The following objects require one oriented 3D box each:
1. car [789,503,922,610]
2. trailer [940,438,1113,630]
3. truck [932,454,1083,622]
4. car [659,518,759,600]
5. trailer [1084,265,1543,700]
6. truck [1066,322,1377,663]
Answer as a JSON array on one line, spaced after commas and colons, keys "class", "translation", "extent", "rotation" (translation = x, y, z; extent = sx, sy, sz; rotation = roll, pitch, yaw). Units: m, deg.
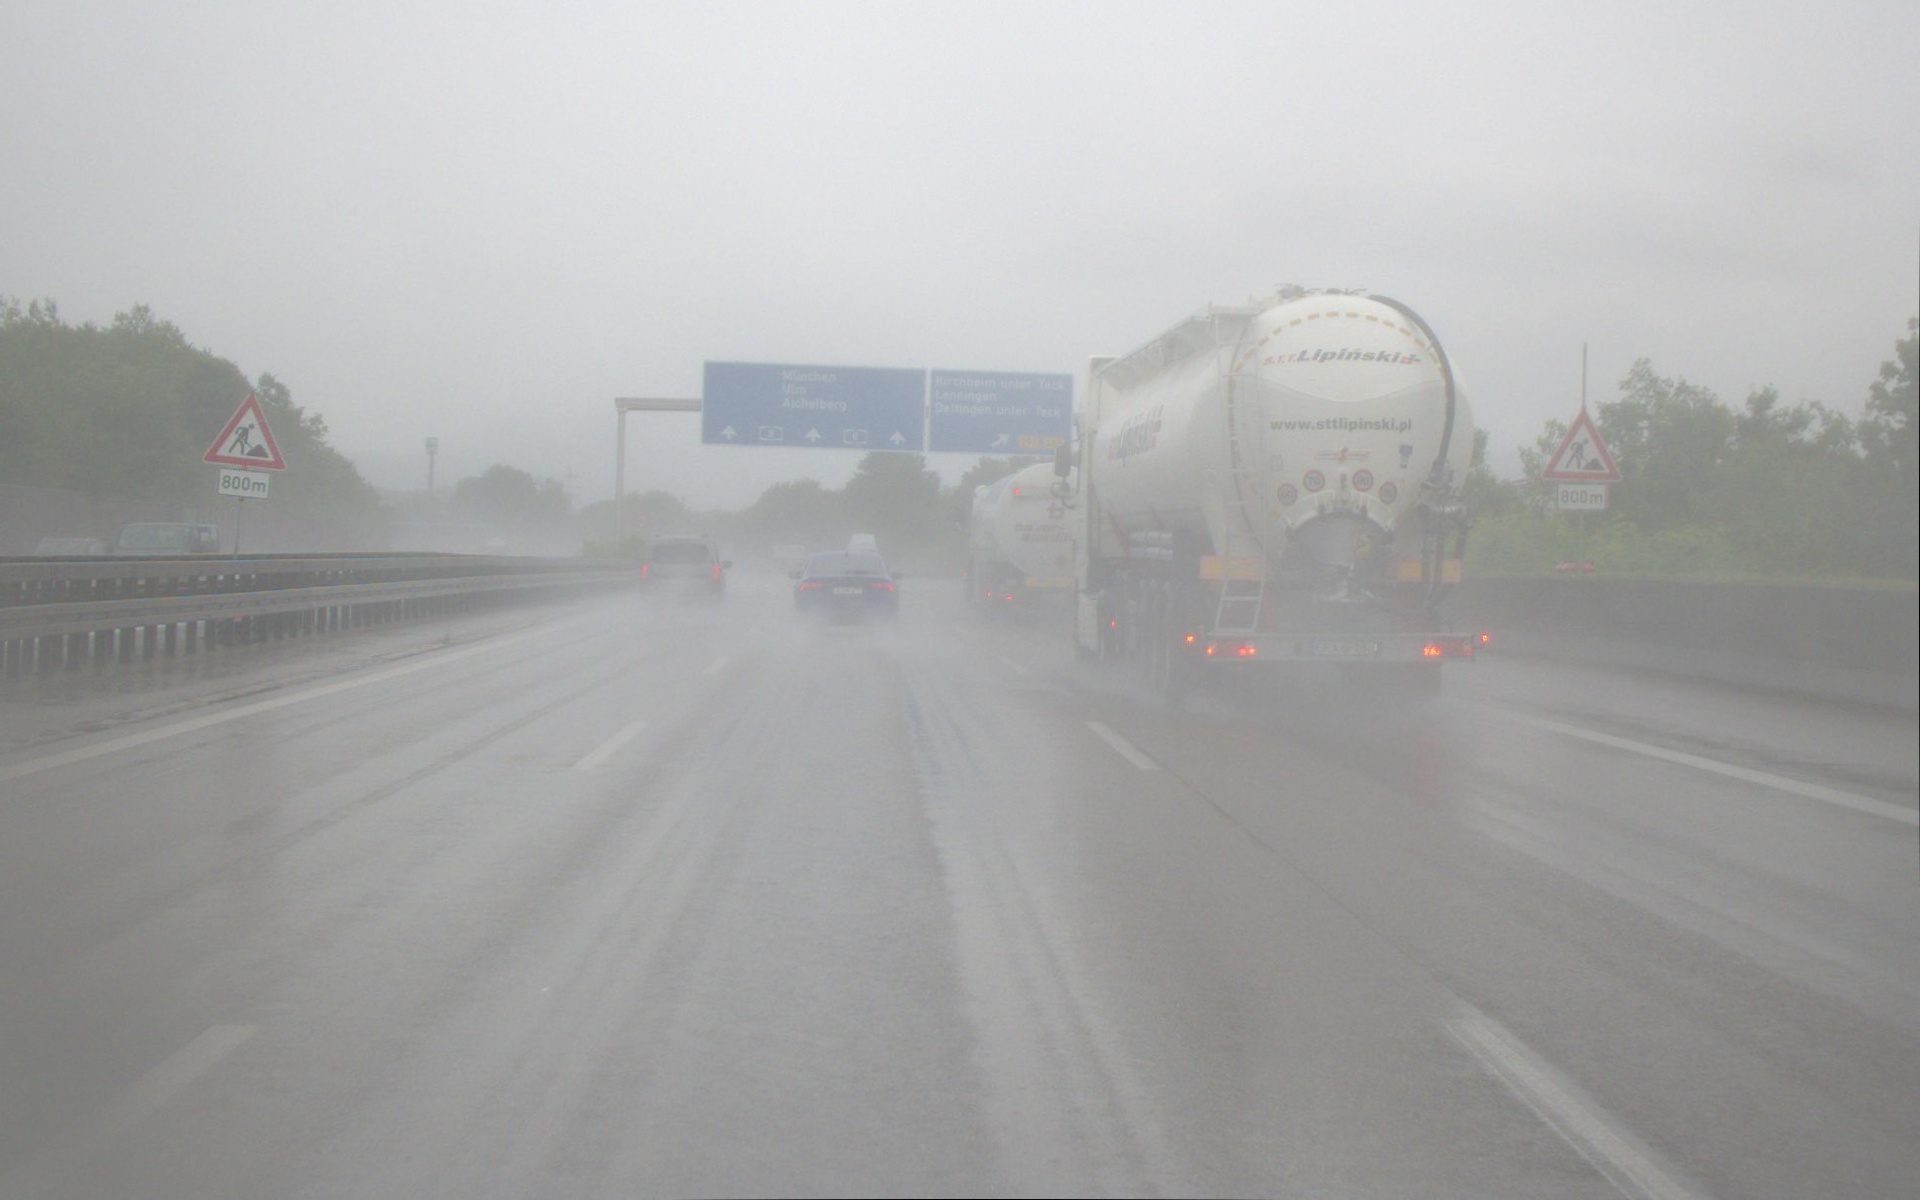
[{"class": "car", "translation": [-1.757, -0.778, 59.293], "extent": [1.978, 1.750, 4.481], "rotation": [1, 1, 2]}, {"class": "trailer", "translation": [1.319, -1.408, 73.613], "extent": [3.004, 3.834, 8.625], "rotation": [0, 1, -3]}, {"class": "truck", "translation": [1.019, -1.426, 78.851], "extent": [2.943, 3.671, 6.362], "rotation": [0, 1, -4]}, {"class": "car", "translation": [-5.550, -0.926, 76.469], "extent": [1.925, 1.735, 4.404], "rotation": [1, 1, 0]}, {"class": "trailer", "translation": [3.239, -1.111, 35.280], "extent": [3.188, 3.657, 11.668], "rotation": [1, 1, -1]}, {"class": "truck", "translation": [3.069, -1.277, 42.478], "extent": [3.104, 3.793, 7.213], "rotation": [1, 1, -1]}]
